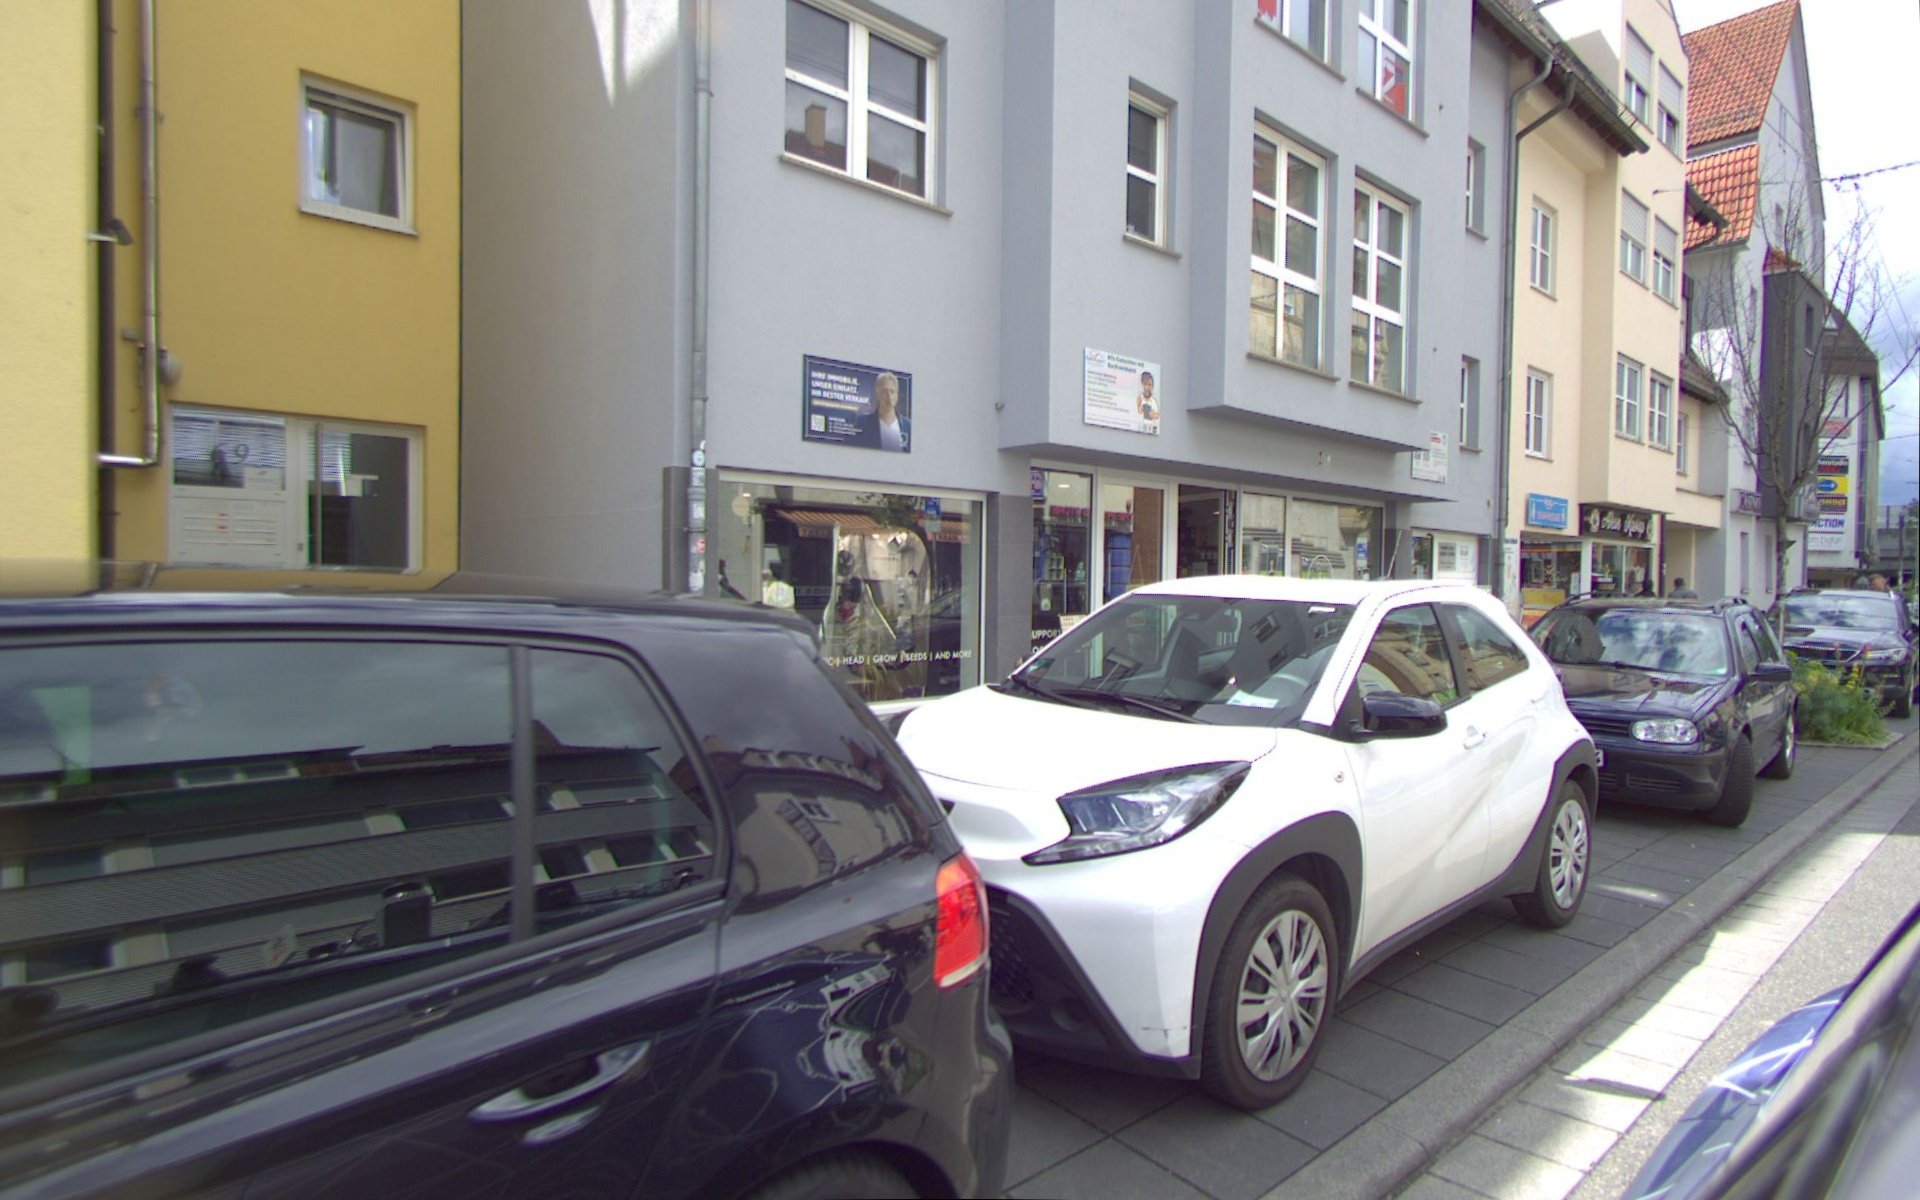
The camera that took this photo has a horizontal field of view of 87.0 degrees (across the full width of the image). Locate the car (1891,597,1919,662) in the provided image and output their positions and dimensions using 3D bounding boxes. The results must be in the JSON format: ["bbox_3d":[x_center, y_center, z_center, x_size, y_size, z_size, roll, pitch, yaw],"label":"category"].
[{"bbox_3d":[23.886,0.665,24.234,4.241,1.438,1.711,-1,1,-39],"label":"car"}]

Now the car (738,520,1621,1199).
[{"bbox_3d":[1.173,0.597,4.024,3.695,1.594,1.690,-1,1,-44],"label":"car"}]

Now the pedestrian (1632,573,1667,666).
[{"bbox_3d":[13.112,0.359,19.238,0.528,1.739,0.436,-1,0,-44],"label":"pedestrian"}]

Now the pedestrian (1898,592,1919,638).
[{"bbox_3d":[35.980,0.564,38.394,0.570,1.724,0.474,-1,0,42],"label":"pedestrian"}]

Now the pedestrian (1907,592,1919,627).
[{"bbox_3d":[43.175,0.416,45.645,0.469,1.582,0.660,-1,0,-44],"label":"pedestrian"}]

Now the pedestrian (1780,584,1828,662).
[{"bbox_3d":[19.346,0.505,23.198,0.645,1.739,0.744,-1,2,-42],"label":"pedestrian"}]

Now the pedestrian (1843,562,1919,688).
[{"bbox_3d":[14.691,0.361,15.960,0.850,1.886,0.977,-1,3,-42],"label":"pedestrian"}]

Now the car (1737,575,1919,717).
[{"bbox_3d":[12.441,0.532,14.162,4.133,1.623,1.802,0,3,-43],"label":"car"}]

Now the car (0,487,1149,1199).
[{"bbox_3d":[-1.815,0.639,1.042,4.447,1.491,1.690,2,-1,-44],"label":"car"}]

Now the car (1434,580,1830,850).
[{"bbox_3d":[5.430,0.627,7.925,4.226,1.458,1.691,-1,5,-45],"label":"car"}]

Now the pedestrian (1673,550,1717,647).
[{"bbox_3d":[13.384,-0.035,18.433,0.596,1.739,0.536,-1,0,-42],"label":"pedestrian"}]
